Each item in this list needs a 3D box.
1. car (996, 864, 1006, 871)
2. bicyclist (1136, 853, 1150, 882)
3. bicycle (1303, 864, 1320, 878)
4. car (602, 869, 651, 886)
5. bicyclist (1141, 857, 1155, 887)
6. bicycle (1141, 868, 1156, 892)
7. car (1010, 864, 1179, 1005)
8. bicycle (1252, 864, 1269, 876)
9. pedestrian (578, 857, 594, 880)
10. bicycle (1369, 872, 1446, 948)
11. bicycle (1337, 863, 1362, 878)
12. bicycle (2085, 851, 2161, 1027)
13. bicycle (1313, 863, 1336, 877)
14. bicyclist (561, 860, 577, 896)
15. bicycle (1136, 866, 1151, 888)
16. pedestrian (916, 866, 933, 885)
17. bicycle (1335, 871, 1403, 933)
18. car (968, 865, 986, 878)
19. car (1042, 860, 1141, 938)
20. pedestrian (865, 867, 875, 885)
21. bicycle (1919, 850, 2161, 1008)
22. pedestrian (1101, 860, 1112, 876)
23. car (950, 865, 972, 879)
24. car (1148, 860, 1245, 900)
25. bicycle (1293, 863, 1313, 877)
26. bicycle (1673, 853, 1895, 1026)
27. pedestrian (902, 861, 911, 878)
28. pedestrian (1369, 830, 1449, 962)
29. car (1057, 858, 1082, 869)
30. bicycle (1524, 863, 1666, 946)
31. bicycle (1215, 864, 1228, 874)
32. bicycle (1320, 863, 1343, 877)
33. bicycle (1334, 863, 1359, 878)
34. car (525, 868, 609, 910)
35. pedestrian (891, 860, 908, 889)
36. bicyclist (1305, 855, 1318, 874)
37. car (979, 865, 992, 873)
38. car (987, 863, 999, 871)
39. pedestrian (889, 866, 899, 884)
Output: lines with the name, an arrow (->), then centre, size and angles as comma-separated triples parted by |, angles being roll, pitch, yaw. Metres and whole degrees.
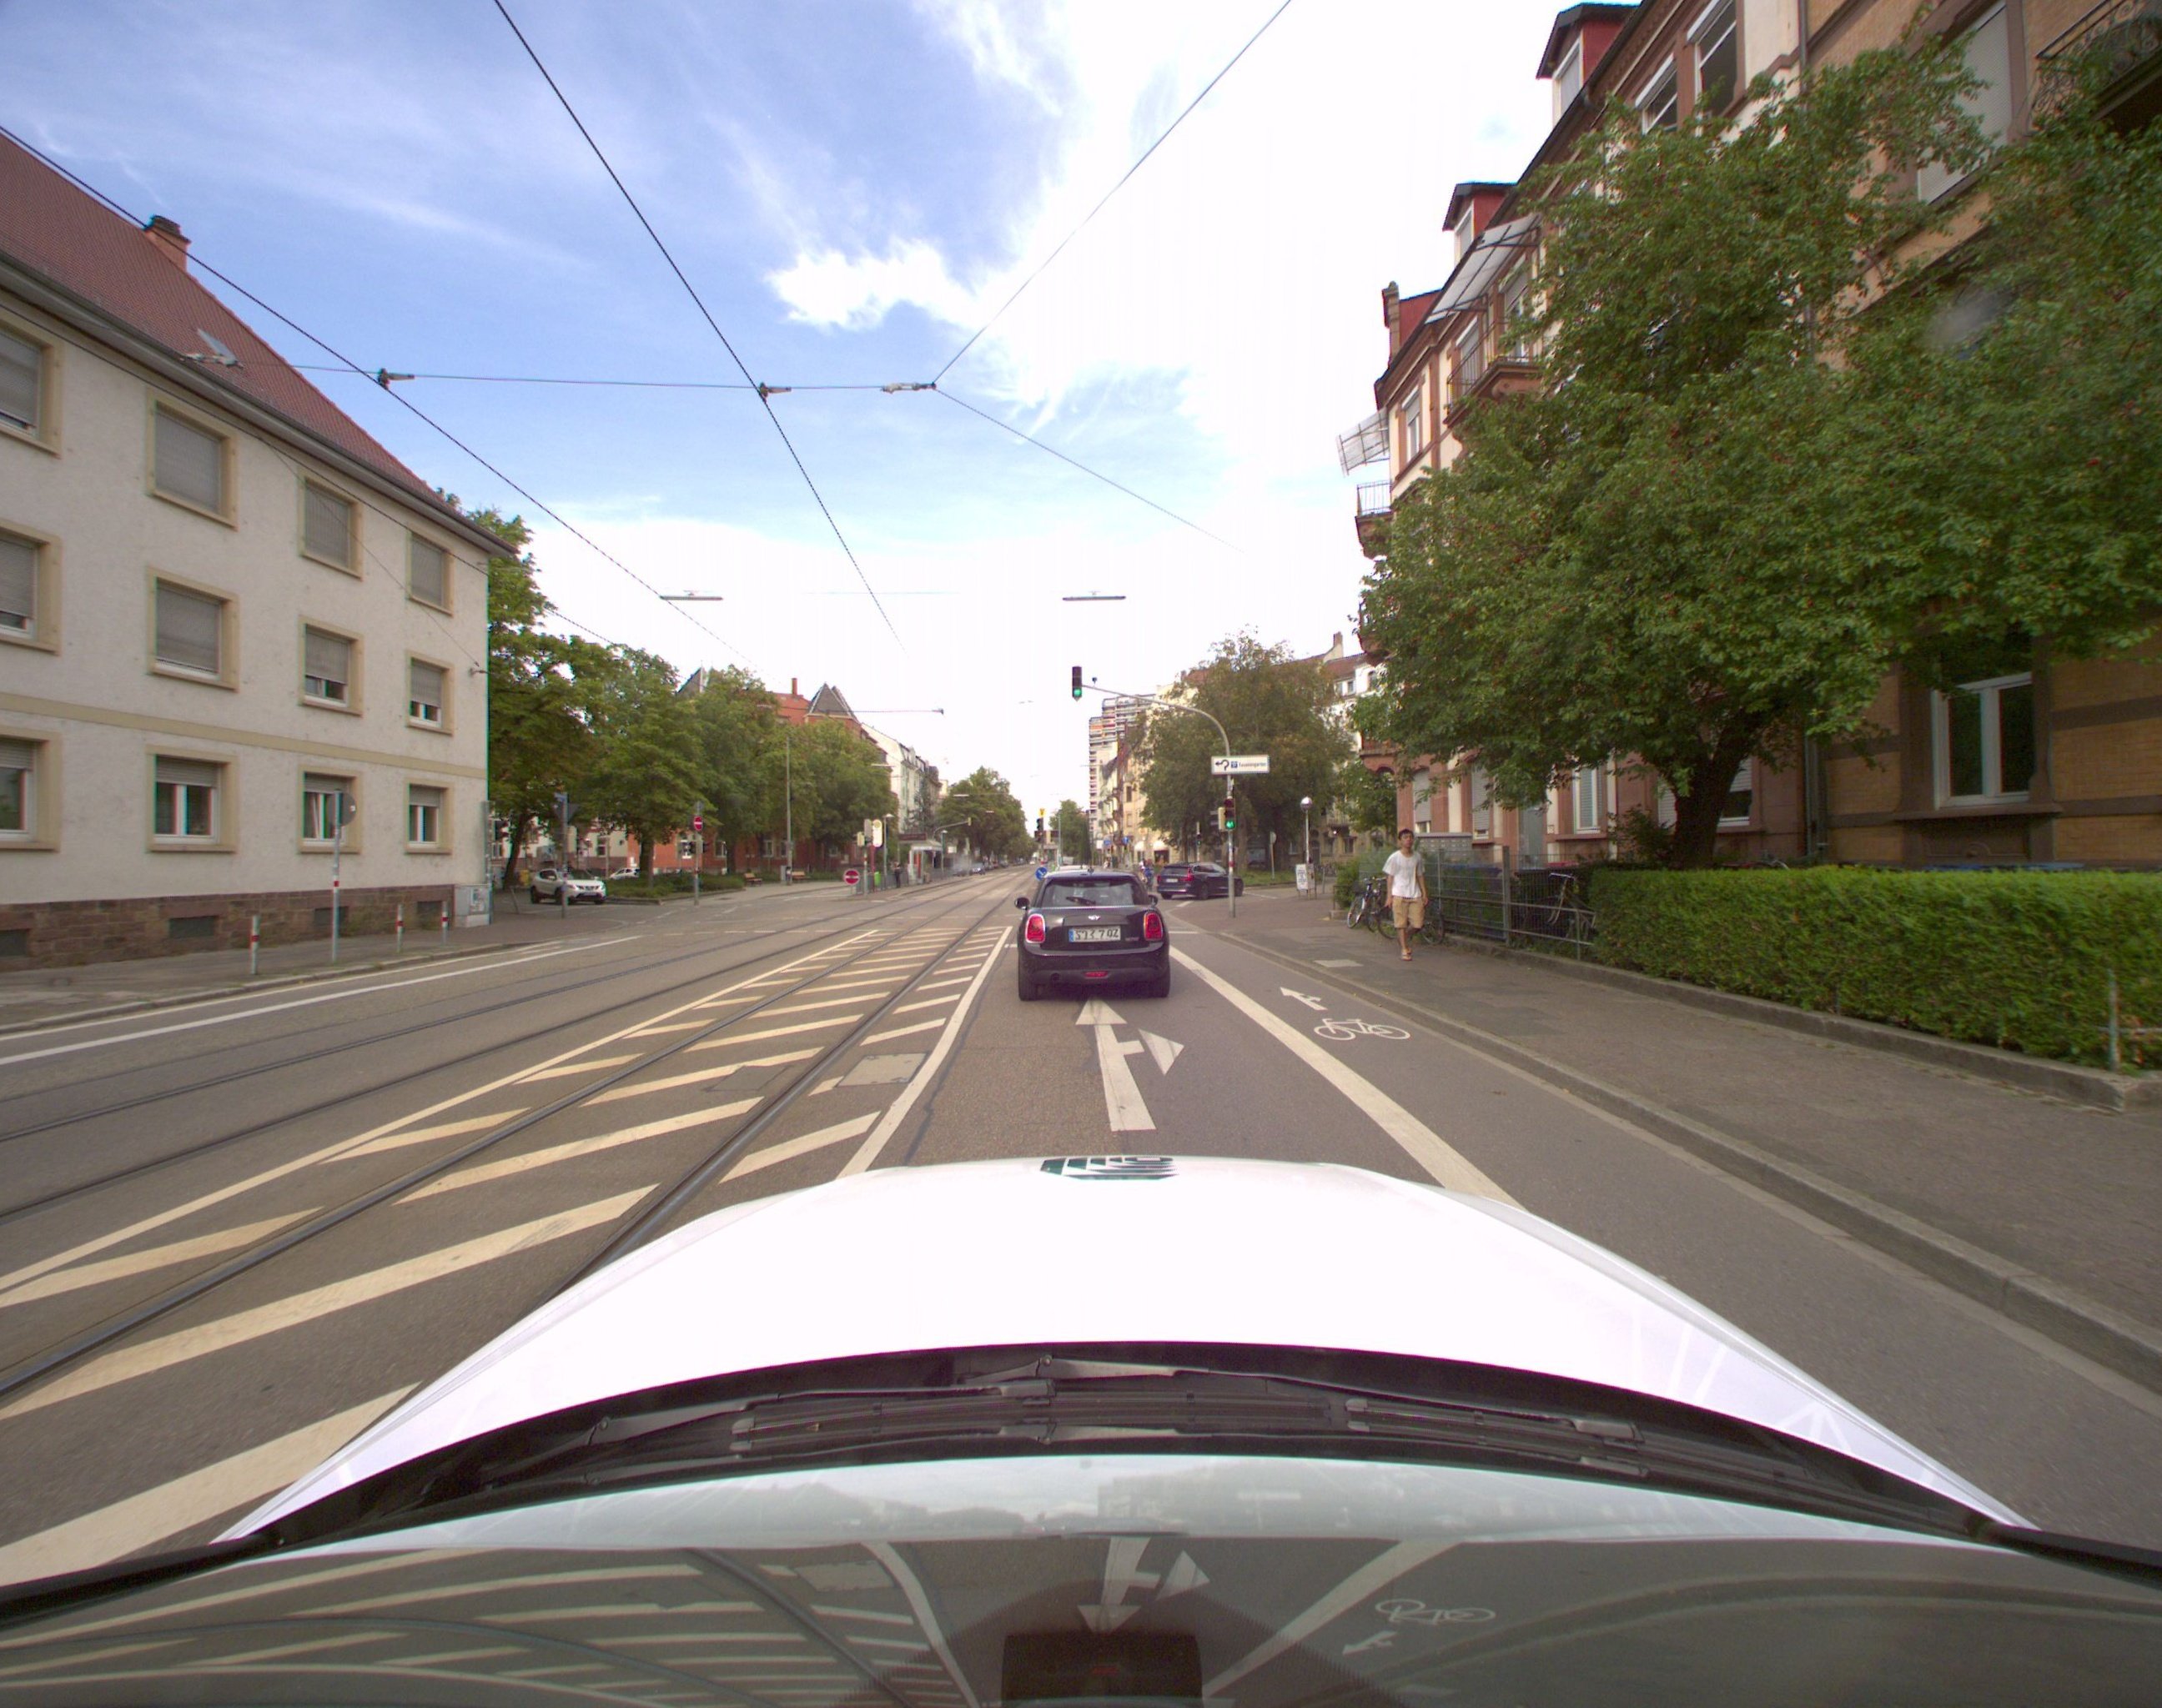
car -> -18.447, 3.065, 186.874 | 1.988, 1.552, 3.997 | -1, -1, -2
bicyclist -> 3.433, 0.764, 45.203 | 0.682, 1.564, 0.998 | -1, -1, 0
bicycle -> 18.170, 1.334, 64.172 | 0.614, 1.077, 1.816 | -1, 0, -7
car -> -41.985, 2.142, 75.241 | 3.953, 1.478, 1.825 | -1, -1, 20
bicyclist -> 3.449, 0.917, 41.801 | 0.593, 1.550, 1.013 | -1, -1, -2
bicycle -> 3.460, 1.328, 41.799 | 0.597, 1.170, 1.695 | -1, 0, -2
car -> 0.051, 0.862, 10.460 | 1.748, 1.441, 3.995 | 1, -1, -3
bicycle -> 16.585, 1.460, 75.241 | 0.659, 1.128, 1.905 | -2, -1, 40
pedestrian -> -38.624, 1.152, 63.515 | 0.745, 1.754, 0.736 | -1, -1, 16
bicycle -> 5.250, 0.866, 13.171 | 0.507, 1.088, 1.549 | -4, 0, -2
bicycle -> 21.872, 1.347, 66.269 | 1.885, 1.128, 0.531 | -1, -1, -6
bicycle -> 8.023, 0.561, 5.655 | 1.542, 1.181, 0.517 | -1, -1, -4
bicycle -> 20.738, 1.351, 69.364 | 1.893, 1.128, 0.579 | -1, -1, -19
bicyclist -> -25.611, 1.199, 40.752 | 0.614, 1.775, 0.902 | -1, -1, -30
bicycle -> 3.442, 1.275, 45.252 | 0.682, 1.170, 1.696 | -1, 0, 0
pedestrian -> -10.567, 1.434, 55.069 | 1.057, 1.294, 0.983 | -1, -1, -8
bicycle -> 5.587, 0.914, 15.907 | 0.669, 1.106, 1.671 | -1, 0, -2
car -> -12.574, 2.128, 98.709 | 1.746, 1.441, 3.999 | 1, -1, 0
car -> 0.156, 0.905, 18.079 | 1.922, 1.510, 3.997 | -1, -1, -2
pedestrian -> -19.438, 2.013, 74.975 | 0.832, 1.703, 0.731 | -1, -1, -8
bicycle -> 7.775, 0.576, 6.580 | 1.542, 1.181, 0.517 | -1, -1, -4
pedestrian -> 2.875, 1.562, 90.091 | 0.723, 1.674, 0.840 | -5, -1, 44
car -> -13.096, 1.982, 89.166 | 1.746, 1.441, 3.999 | 1, -1, 0
car -> 4.667, 0.985, 32.294 | 1.735, 1.441, 4.508 | -2, -1, 39
bicycle -> 19.516, 1.430, 71.670 | 1.901, 1.128, 0.527 | -2, 0, -33
bicycle -> 5.826, 0.645, 6.871 | 0.514, 1.282, 1.550 | -1, -1, 0
pedestrian -> -18.590, 1.656, 86.767 | 0.692, 1.719, 0.758 | -1, -1, 0
pedestrian -> 4.558, 0.560, 11.383 | 0.727, 1.754, 0.950 | -1, -1, 2
car -> -2.372, 1.975, 170.196 | 5.067, 2.273, 2.368 | 0, -1, -43
bicycle -> 6.641, 0.633, 10.554 | 1.542, 1.009, 0.509 | -1, -1, -4
bicycle -> 13.557, 1.435, 78.567 | 0.526, 0.972, 1.659 | -2, -1, 40
bicycle -> 21.098, 1.339, 68.543 | 1.897, 1.128, 0.590 | -1, -1, -25
bicycle -> 21.771, 1.348, 66.850 | 1.885, 1.128, 0.531 | -1, -1, -6
car -> -22.954, 1.582, 36.306 | 4.105, 1.721, 1.852 | -4, -4, 37
pedestrian -> -10.478, 1.183, 47.100 | 0.851, 1.621, 0.841 | -1, -1, -8
bicyclist -> 18.164, 0.841, 64.188 | 0.614, 1.473, 0.913 | -1, -1, -7
car -> -16.104, 2.511, 137.285 | 1.763, 1.395, 3.996 | -1, -1, -3
car -> -17.751, 2.700, 163.935 | 1.988, 1.552, 3.997 | -1, -1, -2
pedestrian -> -18.250, 2.038, 79.629 | 0.832, 1.703, 0.731 | -1, -1, -8
